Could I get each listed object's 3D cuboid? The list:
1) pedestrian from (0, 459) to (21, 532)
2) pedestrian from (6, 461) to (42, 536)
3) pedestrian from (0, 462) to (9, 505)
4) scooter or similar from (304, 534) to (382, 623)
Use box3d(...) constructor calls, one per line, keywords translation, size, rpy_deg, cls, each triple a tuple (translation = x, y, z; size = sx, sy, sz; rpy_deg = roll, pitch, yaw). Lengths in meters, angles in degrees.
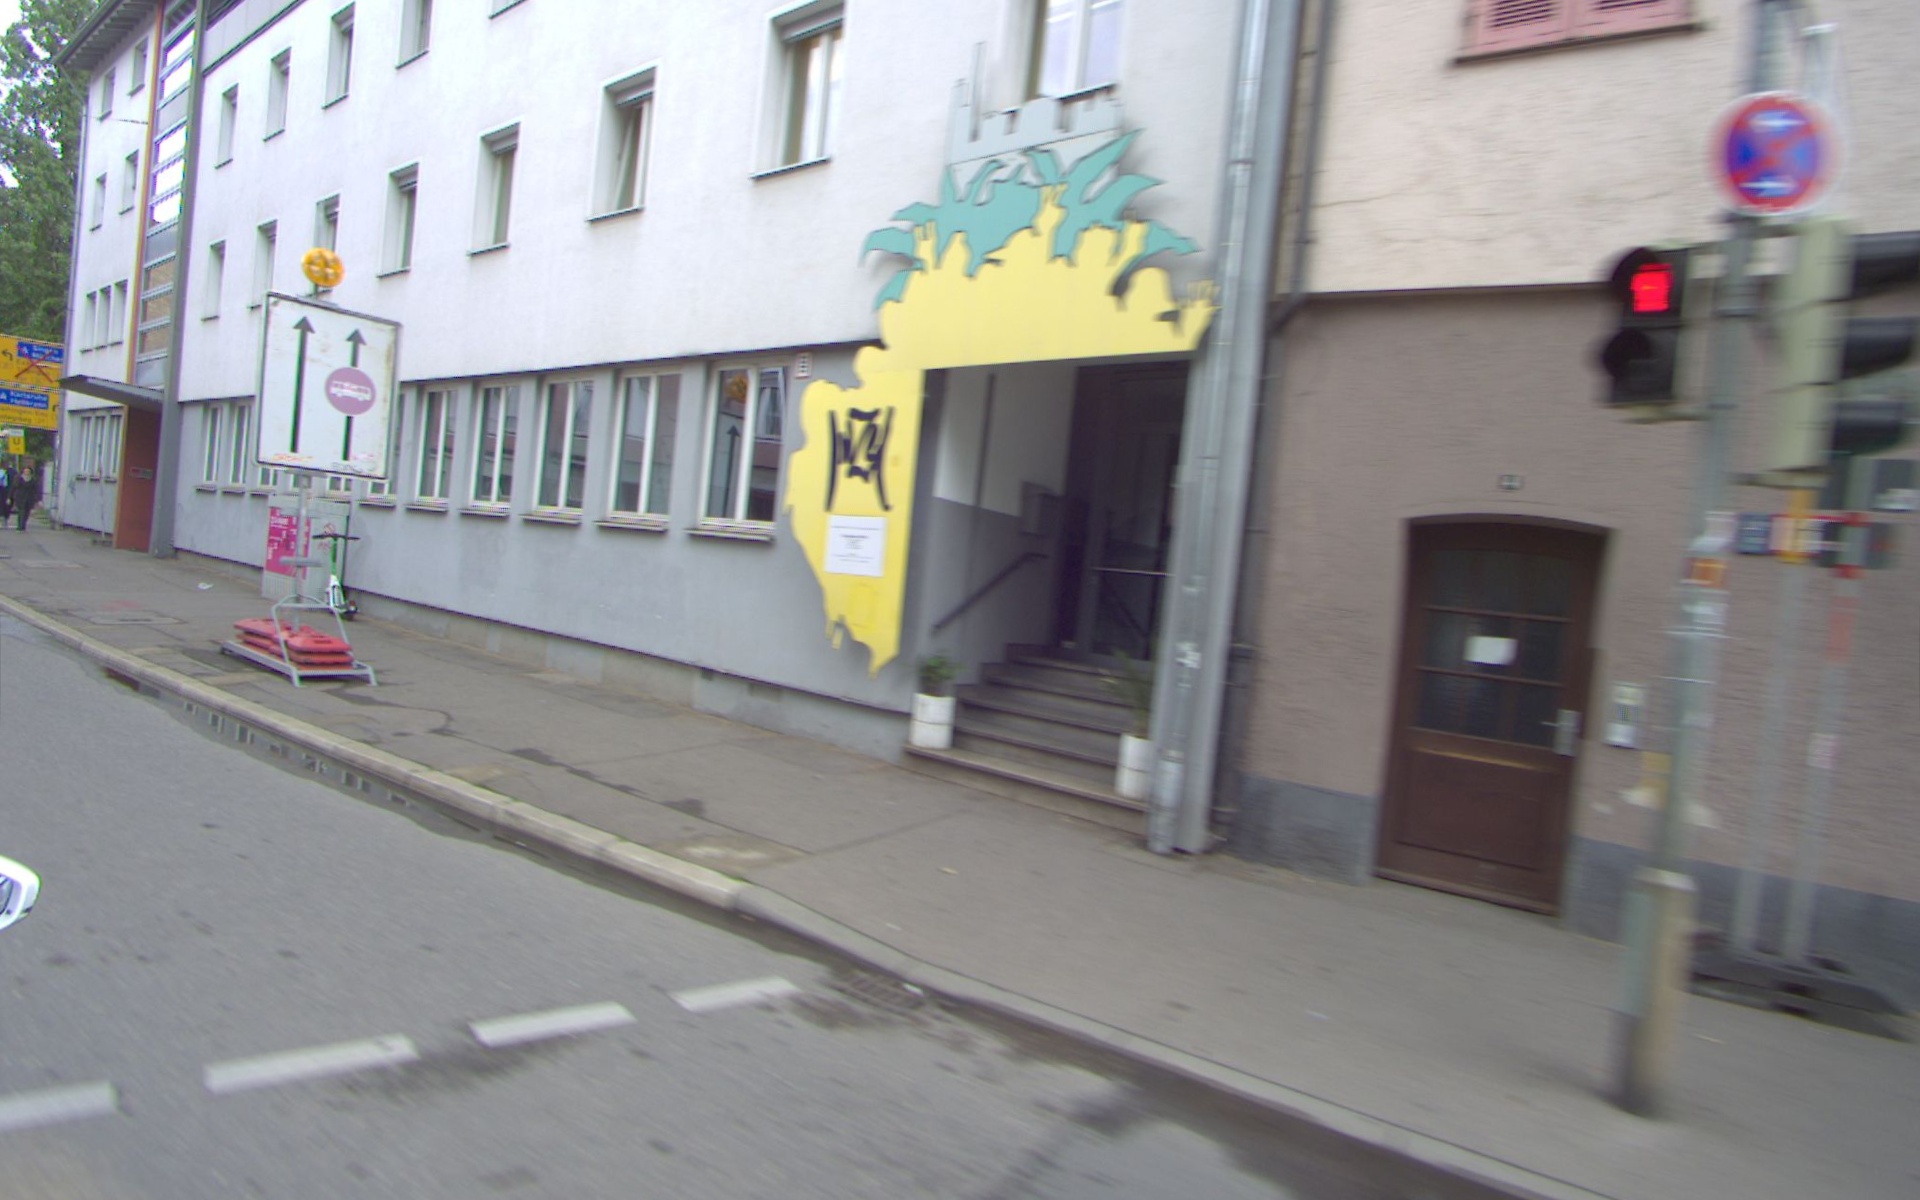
box3d(translation=(-24.253, -2.660, 25.369), size=(0.865, 1.781, 0.685), rpy_deg=(9, 5, 39), cls="pedestrian")
box3d(translation=(-23.209, -2.520, 24.956), size=(0.539, 1.781, 0.602), rpy_deg=(3, 5, -38), cls="pedestrian")
box3d(translation=(-41.124, -5.016, 43.145), size=(0.448, 1.803, 0.663), rpy_deg=(1, 5, -45), cls="pedestrian")
box3d(translation=(-8.808, -0.318, 14.337), size=(1.417, 1.112, 0.428), rpy_deg=(8, 4, 38), cls="scooter or similar")
